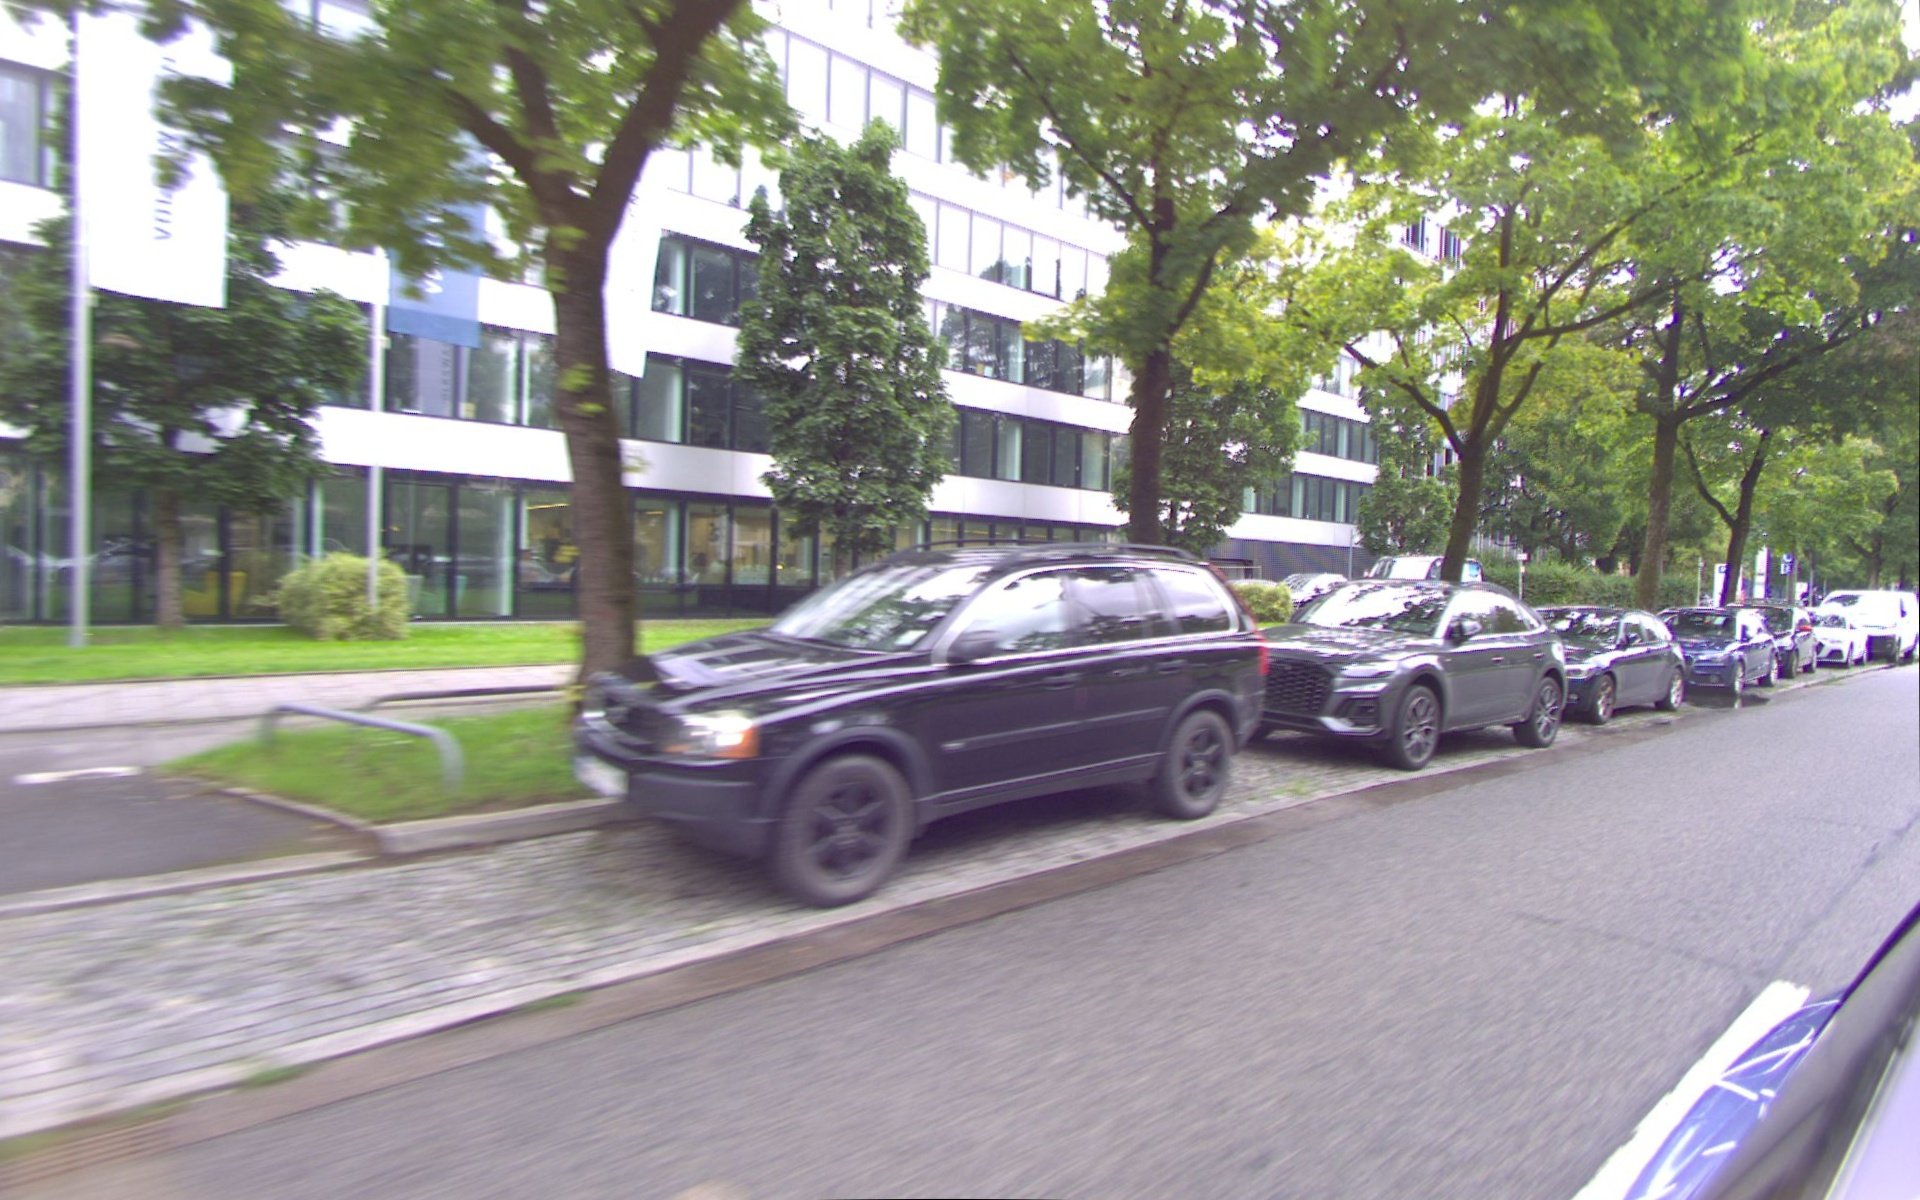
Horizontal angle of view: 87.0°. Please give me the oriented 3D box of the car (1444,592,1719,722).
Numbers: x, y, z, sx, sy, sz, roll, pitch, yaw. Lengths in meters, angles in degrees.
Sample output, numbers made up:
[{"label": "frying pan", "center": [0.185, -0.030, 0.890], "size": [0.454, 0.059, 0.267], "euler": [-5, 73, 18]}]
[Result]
[{"label": "car", "center": [8.555, 0.667, 13.781], "size": [4.430, 1.425, 1.707], "euler": [0, 2, -38]}]

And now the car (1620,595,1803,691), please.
[{"label": "car", "center": [13.383, 0.675, 17.949], "size": [4.048, 1.438, 1.705], "euler": [0, 3, -40]}]

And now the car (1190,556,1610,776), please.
[{"label": "car", "center": [4.552, 0.500, 10.115], "size": [4.712, 1.696, 1.818], "euler": [0, 2, -39]}]

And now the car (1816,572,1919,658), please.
[{"label": "car", "center": [26.369, 0.375, 28.914], "size": [5.457, 2.184, 1.992], "euler": [0, 2, -41]}]

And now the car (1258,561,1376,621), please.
[{"label": "car", "center": [12.064, -0.316, 34.035], "size": [4.396, 1.840, 1.845], "euler": [0, 3, -43]}]

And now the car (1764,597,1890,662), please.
[{"label": "car", "center": [21.495, 0.673, 25.034], "size": [4.158, 1.414, 1.705], "euler": [0, 3, -40]}]

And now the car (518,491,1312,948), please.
[{"label": "car", "center": [0.042, 0.435, 6.311], "size": [4.776, 1.822, 1.897], "euler": [0, 3, -41]}]

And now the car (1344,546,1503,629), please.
[{"label": "car", "center": [14.660, -0.408, 31.810], "size": [6.161, 2.335, 2.268], "euler": [0, 3, -43]}]

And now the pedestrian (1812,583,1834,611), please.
[{"label": "pedestrian", "center": [55.609, -0.204, 65.175], "size": [0.735, 1.735, 0.787], "euler": [1, 2, -26]}]

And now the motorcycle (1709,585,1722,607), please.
[{"label": "motorcycle", "center": [47.932, -0.271, 64.215], "size": [0.546, 1.335, 2.049], "euler": [3, 2, 34]}]

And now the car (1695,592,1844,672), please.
[{"label": "car", "center": [17.158, 0.624, 21.395], "size": [3.908, 1.464, 1.705], "euler": [0, 3, -40]}]

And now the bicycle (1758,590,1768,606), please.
[{"label": "bicycle", "center": [61.973, -0.170, 78.120], "size": [0.510, 1.203, 2.112], "euler": [3, 2, 38]}]

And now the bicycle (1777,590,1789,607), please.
[{"label": "bicycle", "center": [62.501, -0.118, 76.893], "size": [1.922, 1.203, 0.446], "euler": [0, 2, -44]}]

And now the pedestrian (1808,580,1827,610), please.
[{"label": "pedestrian", "center": [56.024, -0.330, 66.152], "size": [0.734, 1.923, 0.654], "euler": [1, 1, -29]}]
